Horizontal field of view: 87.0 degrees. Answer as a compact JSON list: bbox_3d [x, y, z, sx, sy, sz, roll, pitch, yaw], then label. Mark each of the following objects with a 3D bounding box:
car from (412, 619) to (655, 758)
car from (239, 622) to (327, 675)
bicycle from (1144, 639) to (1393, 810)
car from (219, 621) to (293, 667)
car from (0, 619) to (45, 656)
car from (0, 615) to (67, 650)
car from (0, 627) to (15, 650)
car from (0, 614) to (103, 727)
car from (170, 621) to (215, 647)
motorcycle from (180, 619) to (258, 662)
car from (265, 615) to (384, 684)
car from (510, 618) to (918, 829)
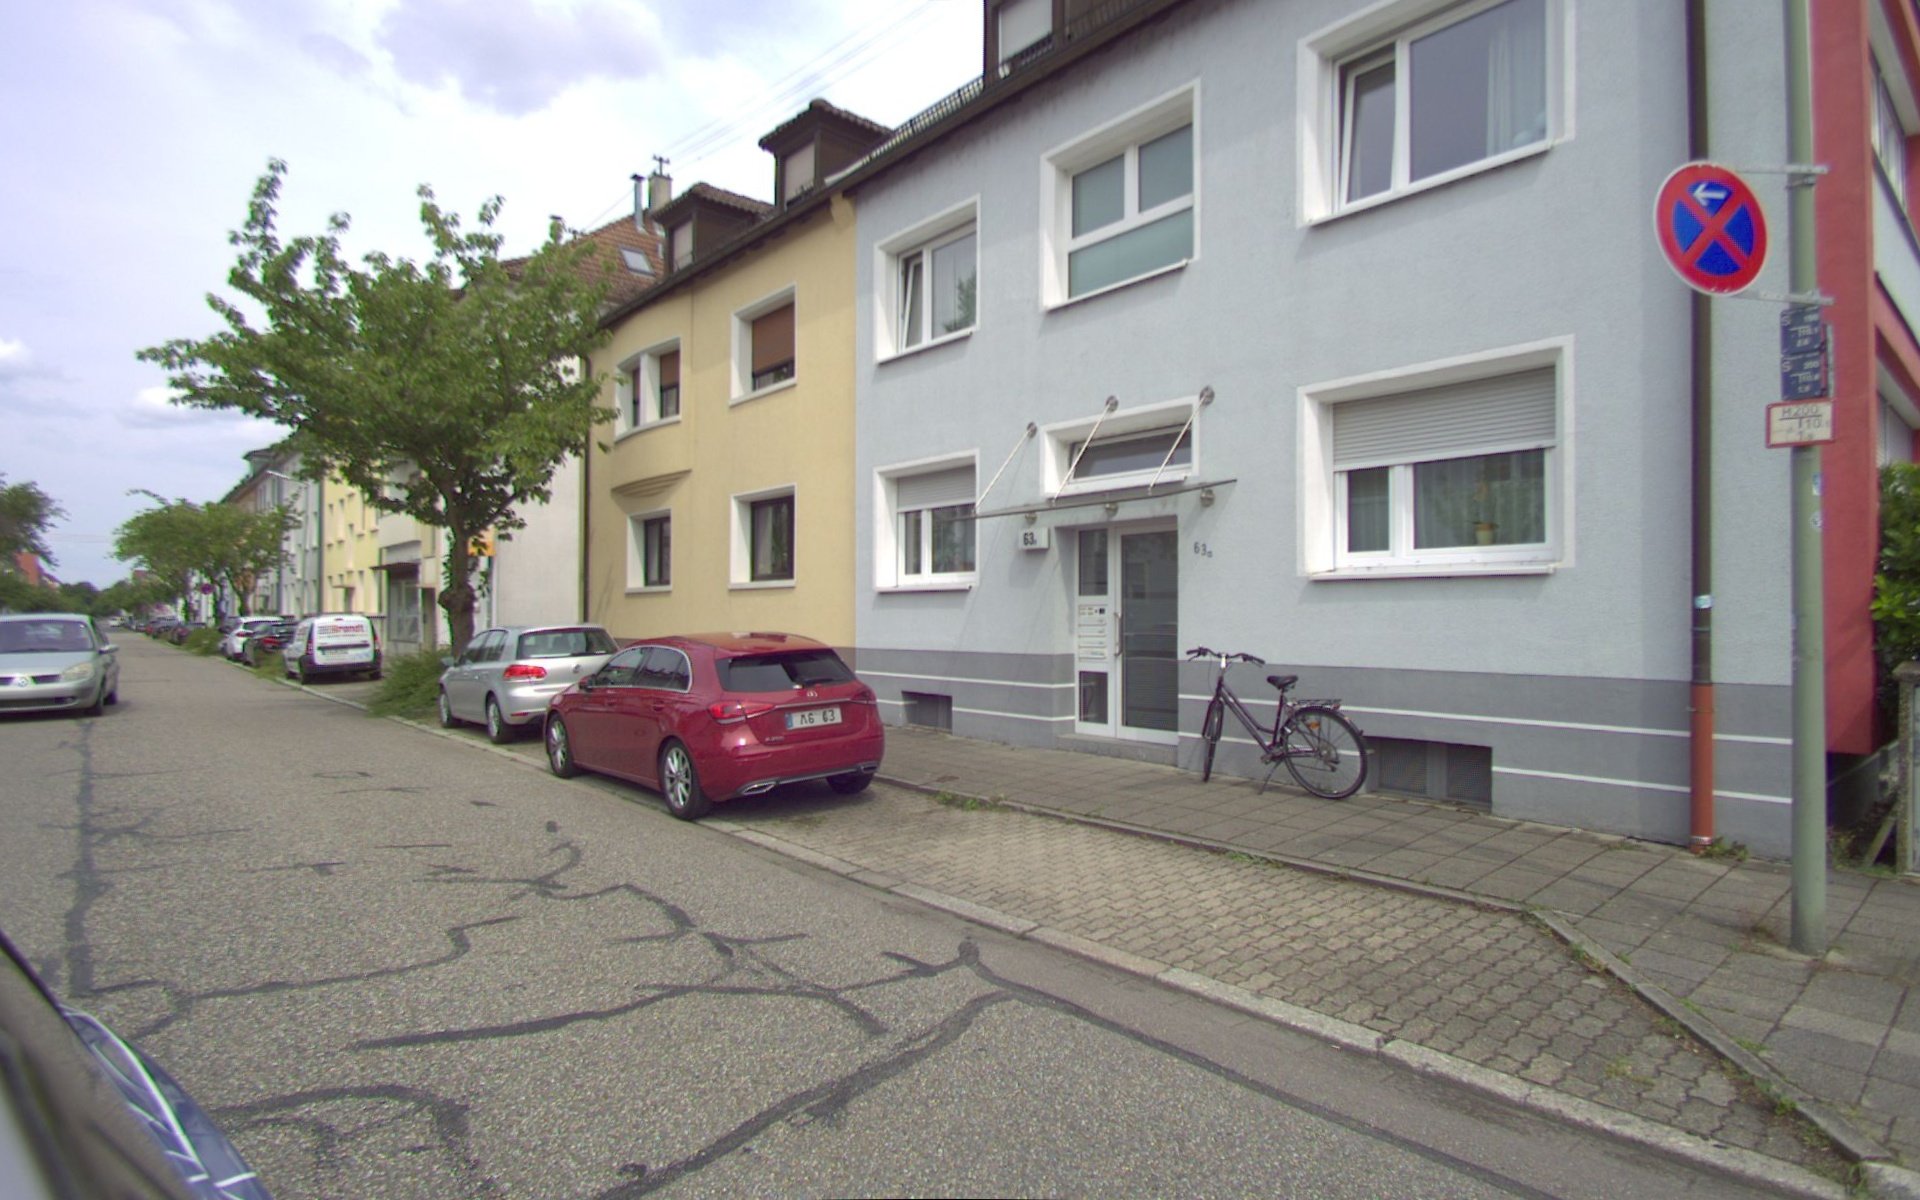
[{"bbox_3d":[-5.880,1.051,13.659,1.750,1.402,4.282,-6,3,-40],"label":"car"},{"bbox_3d":[-21.405,1.473,31.938,1.768,1.503,4.820,0,-1,-40],"label":"car"},{"bbox_3d":[2.349,0.902,7.912,0.484,1.162,1.876,4,-3,-41],"label":"bicycle"},{"bbox_3d":[-25.537,1.548,36.657,1.735,1.568,4.262,2,-2,-41],"label":"car"},{"bbox_3d":[-52.360,2.045,56.389,1.970,1.929,4.709,-1,0,-43],"label":"car"},{"bbox_3d":[-57.504,1.964,61.090,2.075,2.039,5.169,-1,-4,45],"label":"car"},{"bbox_3d":[-65.217,2.474,66.486,4.492,1.521,1.852,4,-4,-43],"label":"car"},{"bbox_3d":[-15.187,1.053,16.502,1.762,1.616,4.842,1,-2,-41],"label":"car"},{"bbox_3d":[-47.762,2.100,62.987,1.814,1.495,4.125,-2,1,-43],"label":"car"},{"bbox_3d":[-29.176,1.601,39.860,2.443,1.689,0.937,0,-3,6],"label":"motorcycle"},{"bbox_3d":[-16.243,1.231,25.766,1.894,1.593,4.389,4,-3,-40],"label":"car"},{"bbox_3d":[-2.536,0.961,9.548,1.854,1.497,4.519,4,-3,-41],"label":"car"}]
